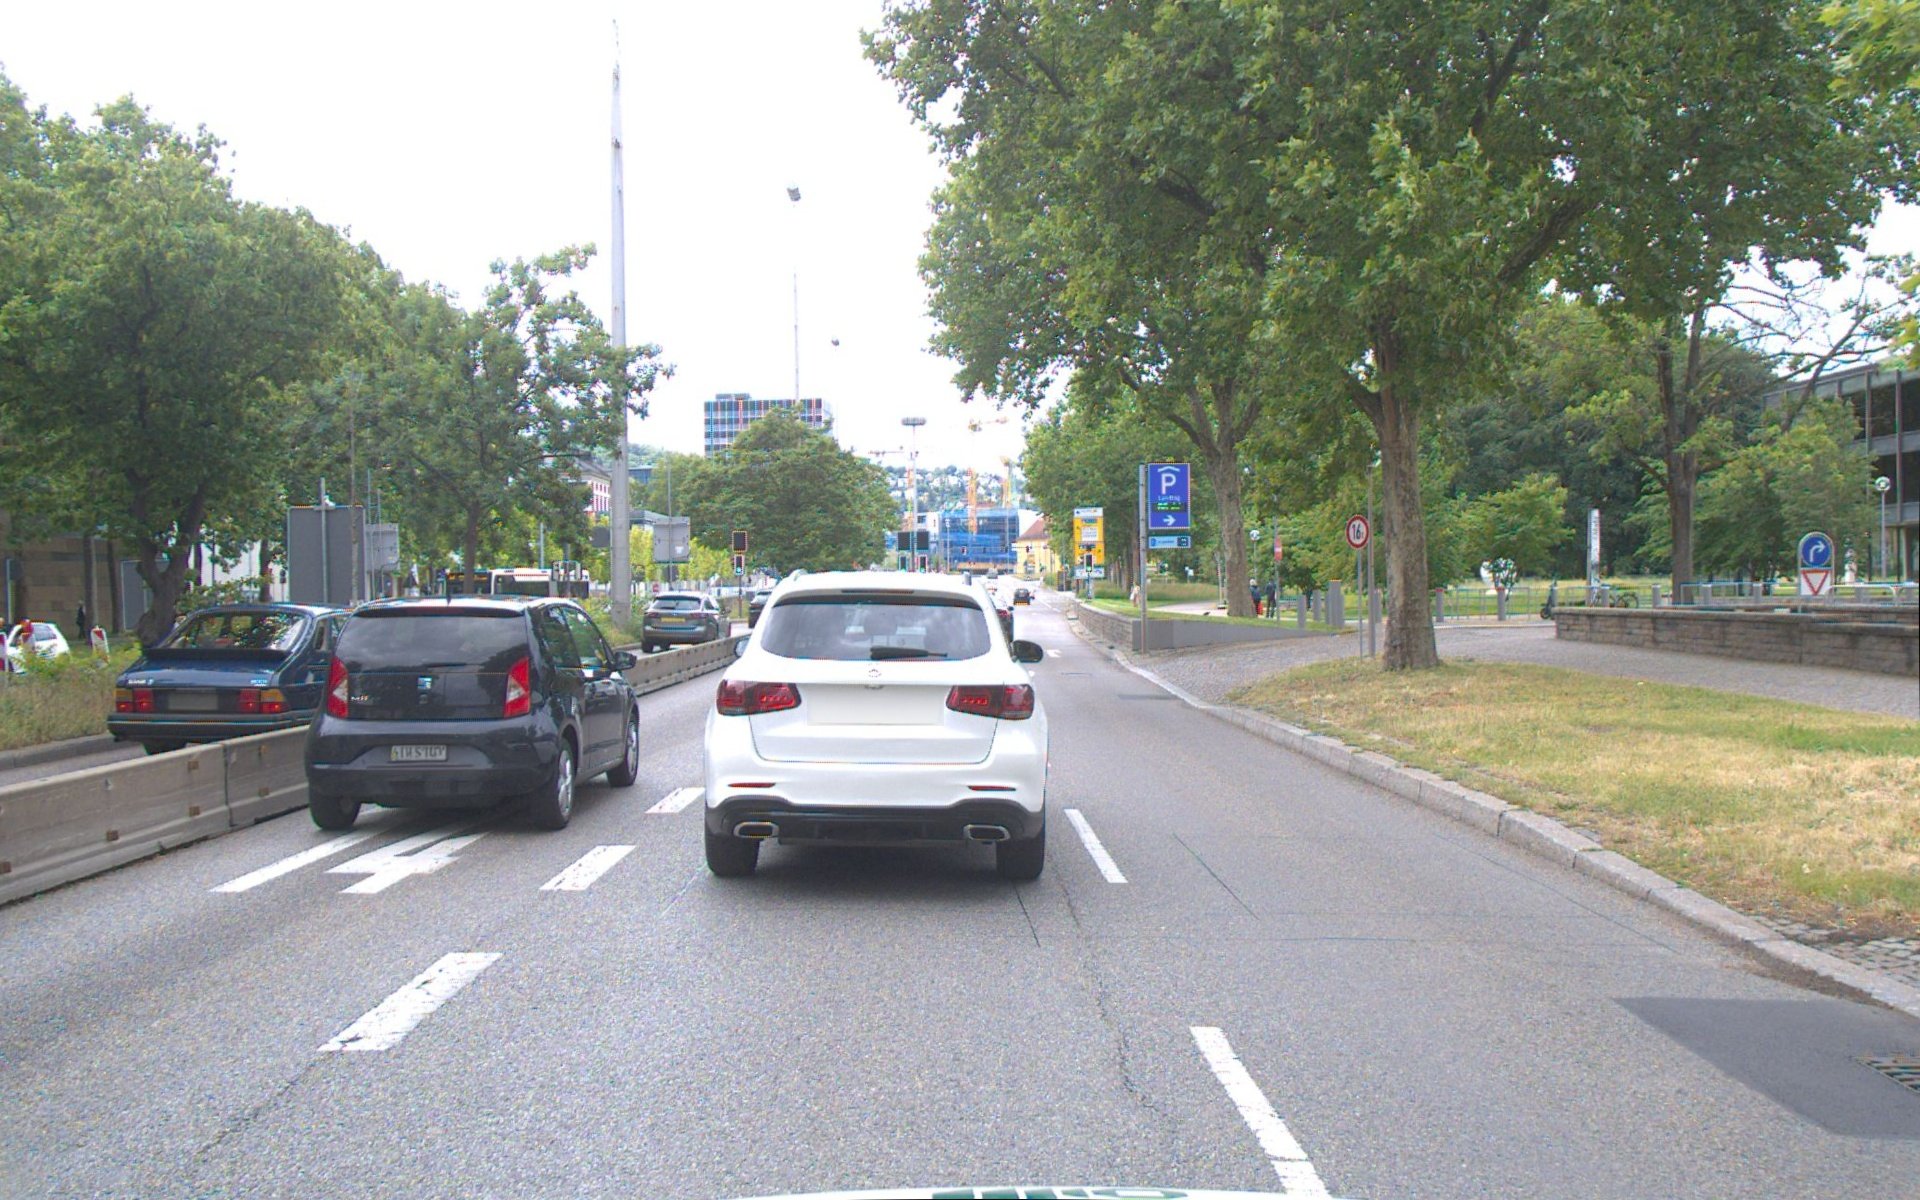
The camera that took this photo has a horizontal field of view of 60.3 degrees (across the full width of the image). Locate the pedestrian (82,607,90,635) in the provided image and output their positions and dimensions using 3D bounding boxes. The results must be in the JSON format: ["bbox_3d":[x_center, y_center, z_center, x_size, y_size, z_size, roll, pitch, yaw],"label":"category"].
[{"bbox_3d":[-34.742,0.846,65.749,0.211,1.097,0.258,1,-1,-18],"label":"pedestrian"}]

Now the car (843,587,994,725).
[{"bbox_3d":[-0.647,0.703,22.506,1.761,1.636,3.751,-2,0,-5],"label":"car"}]

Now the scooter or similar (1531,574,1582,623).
[{"bbox_3d":[15.988,-0.021,44.374,0.622,1.267,2.226,1,0,2],"label":"scooter or similar"}]

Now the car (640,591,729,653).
[{"bbox_3d":[-6.802,0.524,41.163,1.627,1.461,3.959,0,0,-1],"label":"car"}]

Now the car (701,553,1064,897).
[{"bbox_3d":[-0.333,0.602,10.235,1.751,1.653,4.438,0,0,1],"label":"car"}]

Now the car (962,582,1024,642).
[{"bbox_3d":[1.000,0.355,52.148,1.788,1.783,3.999,-1,0,-1],"label":"car"}]

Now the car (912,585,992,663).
[{"bbox_3d":[-0.215,0.497,37.255,1.626,1.668,3.545,0,0,-3],"label":"car"}]

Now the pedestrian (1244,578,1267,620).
[{"bbox_3d":[11.653,-0.027,65.249,0.650,1.639,0.637,-1,0,-19],"label":"pedestrian"}]

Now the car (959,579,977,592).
[{"bbox_3d":[0.898,-1.589,180.782,1.907,1.343,4.017,0,0,0],"label":"car"}]

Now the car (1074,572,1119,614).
[{"bbox_3d":[6.829,-0.319,82.872,1.952,2.049,4.000,0,0,0],"label":"car"}]

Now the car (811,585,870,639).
[{"bbox_3d":[-3.828,0.373,53.092,1.815,1.656,4.902,0,0,-4],"label":"car"}]

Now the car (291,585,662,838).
[{"bbox_3d":[-3.228,0.661,11.745,1.575,1.499,3.622,-1,0,0],"label":"car"}]

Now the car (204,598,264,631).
[{"bbox_3d":[-44.599,0.861,101.749,1.953,1.948,3.999,-1,0,-1],"label":"car"}]

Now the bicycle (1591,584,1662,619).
[{"bbox_3d":[19.927,0.042,49.508,0.934,0.992,2.786,1,0,-1],"label":"bicycle"}]

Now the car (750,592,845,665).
[{"bbox_3d":[-3.392,0.574,35.154,1.761,1.462,4.018,0,0,-2],"label":"car"}]

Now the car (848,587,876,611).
[{"bbox_3d":[-6.416,-0.070,108.846,1.625,1.540,3.547,-1,0,0],"label":"car"}]

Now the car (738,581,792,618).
[{"bbox_3d":[-7.990,-0.039,68.048,1.739,1.445,4.000,-1,1,0],"label":"car"}]

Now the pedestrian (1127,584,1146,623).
[{"bbox_3d":[9.305,0.198,87.239,0.746,2.049,0.696,-1,0,35],"label":"pedestrian"}]

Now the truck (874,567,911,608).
[{"bbox_3d":[-4.966,-0.914,122.029,2.568,2.911,7.076,1,0,-1],"label":"truck"}]

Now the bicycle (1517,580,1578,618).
[{"bbox_3d":[17.563,-0.020,49.500,0.934,1.082,2.335,1,0,-1],"label":"bicycle"}]

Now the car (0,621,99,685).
[{"bbox_3d":[-22.550,1.250,39.889,1.626,1.407,3.803,-1,0,-1],"label":"car"}]

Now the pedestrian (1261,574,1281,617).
[{"bbox_3d":[12.684,-0.187,67.413,0.743,1.755,0.699,-1,0,7],"label":"pedestrian"}]

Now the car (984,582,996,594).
[{"bbox_3d":[4.262,-1.727,235.016,1.722,1.698,4.168,-1,0,0],"label":"car"}]

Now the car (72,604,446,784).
[{"bbox_3d":[-6.352,0.760,15.596,1.644,1.391,4.542,-1,0,-1],"label":"car"}]

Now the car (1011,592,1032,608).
[{"bbox_3d":[5.725,-0.028,154.517,1.907,1.453,4.017,0,0,0],"label":"car"}]

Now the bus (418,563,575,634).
[{"bbox_3d":[-23.249,-0.114,84.172,3.591,3.261,14.277,-1,0,2],"label":"bus"}]
